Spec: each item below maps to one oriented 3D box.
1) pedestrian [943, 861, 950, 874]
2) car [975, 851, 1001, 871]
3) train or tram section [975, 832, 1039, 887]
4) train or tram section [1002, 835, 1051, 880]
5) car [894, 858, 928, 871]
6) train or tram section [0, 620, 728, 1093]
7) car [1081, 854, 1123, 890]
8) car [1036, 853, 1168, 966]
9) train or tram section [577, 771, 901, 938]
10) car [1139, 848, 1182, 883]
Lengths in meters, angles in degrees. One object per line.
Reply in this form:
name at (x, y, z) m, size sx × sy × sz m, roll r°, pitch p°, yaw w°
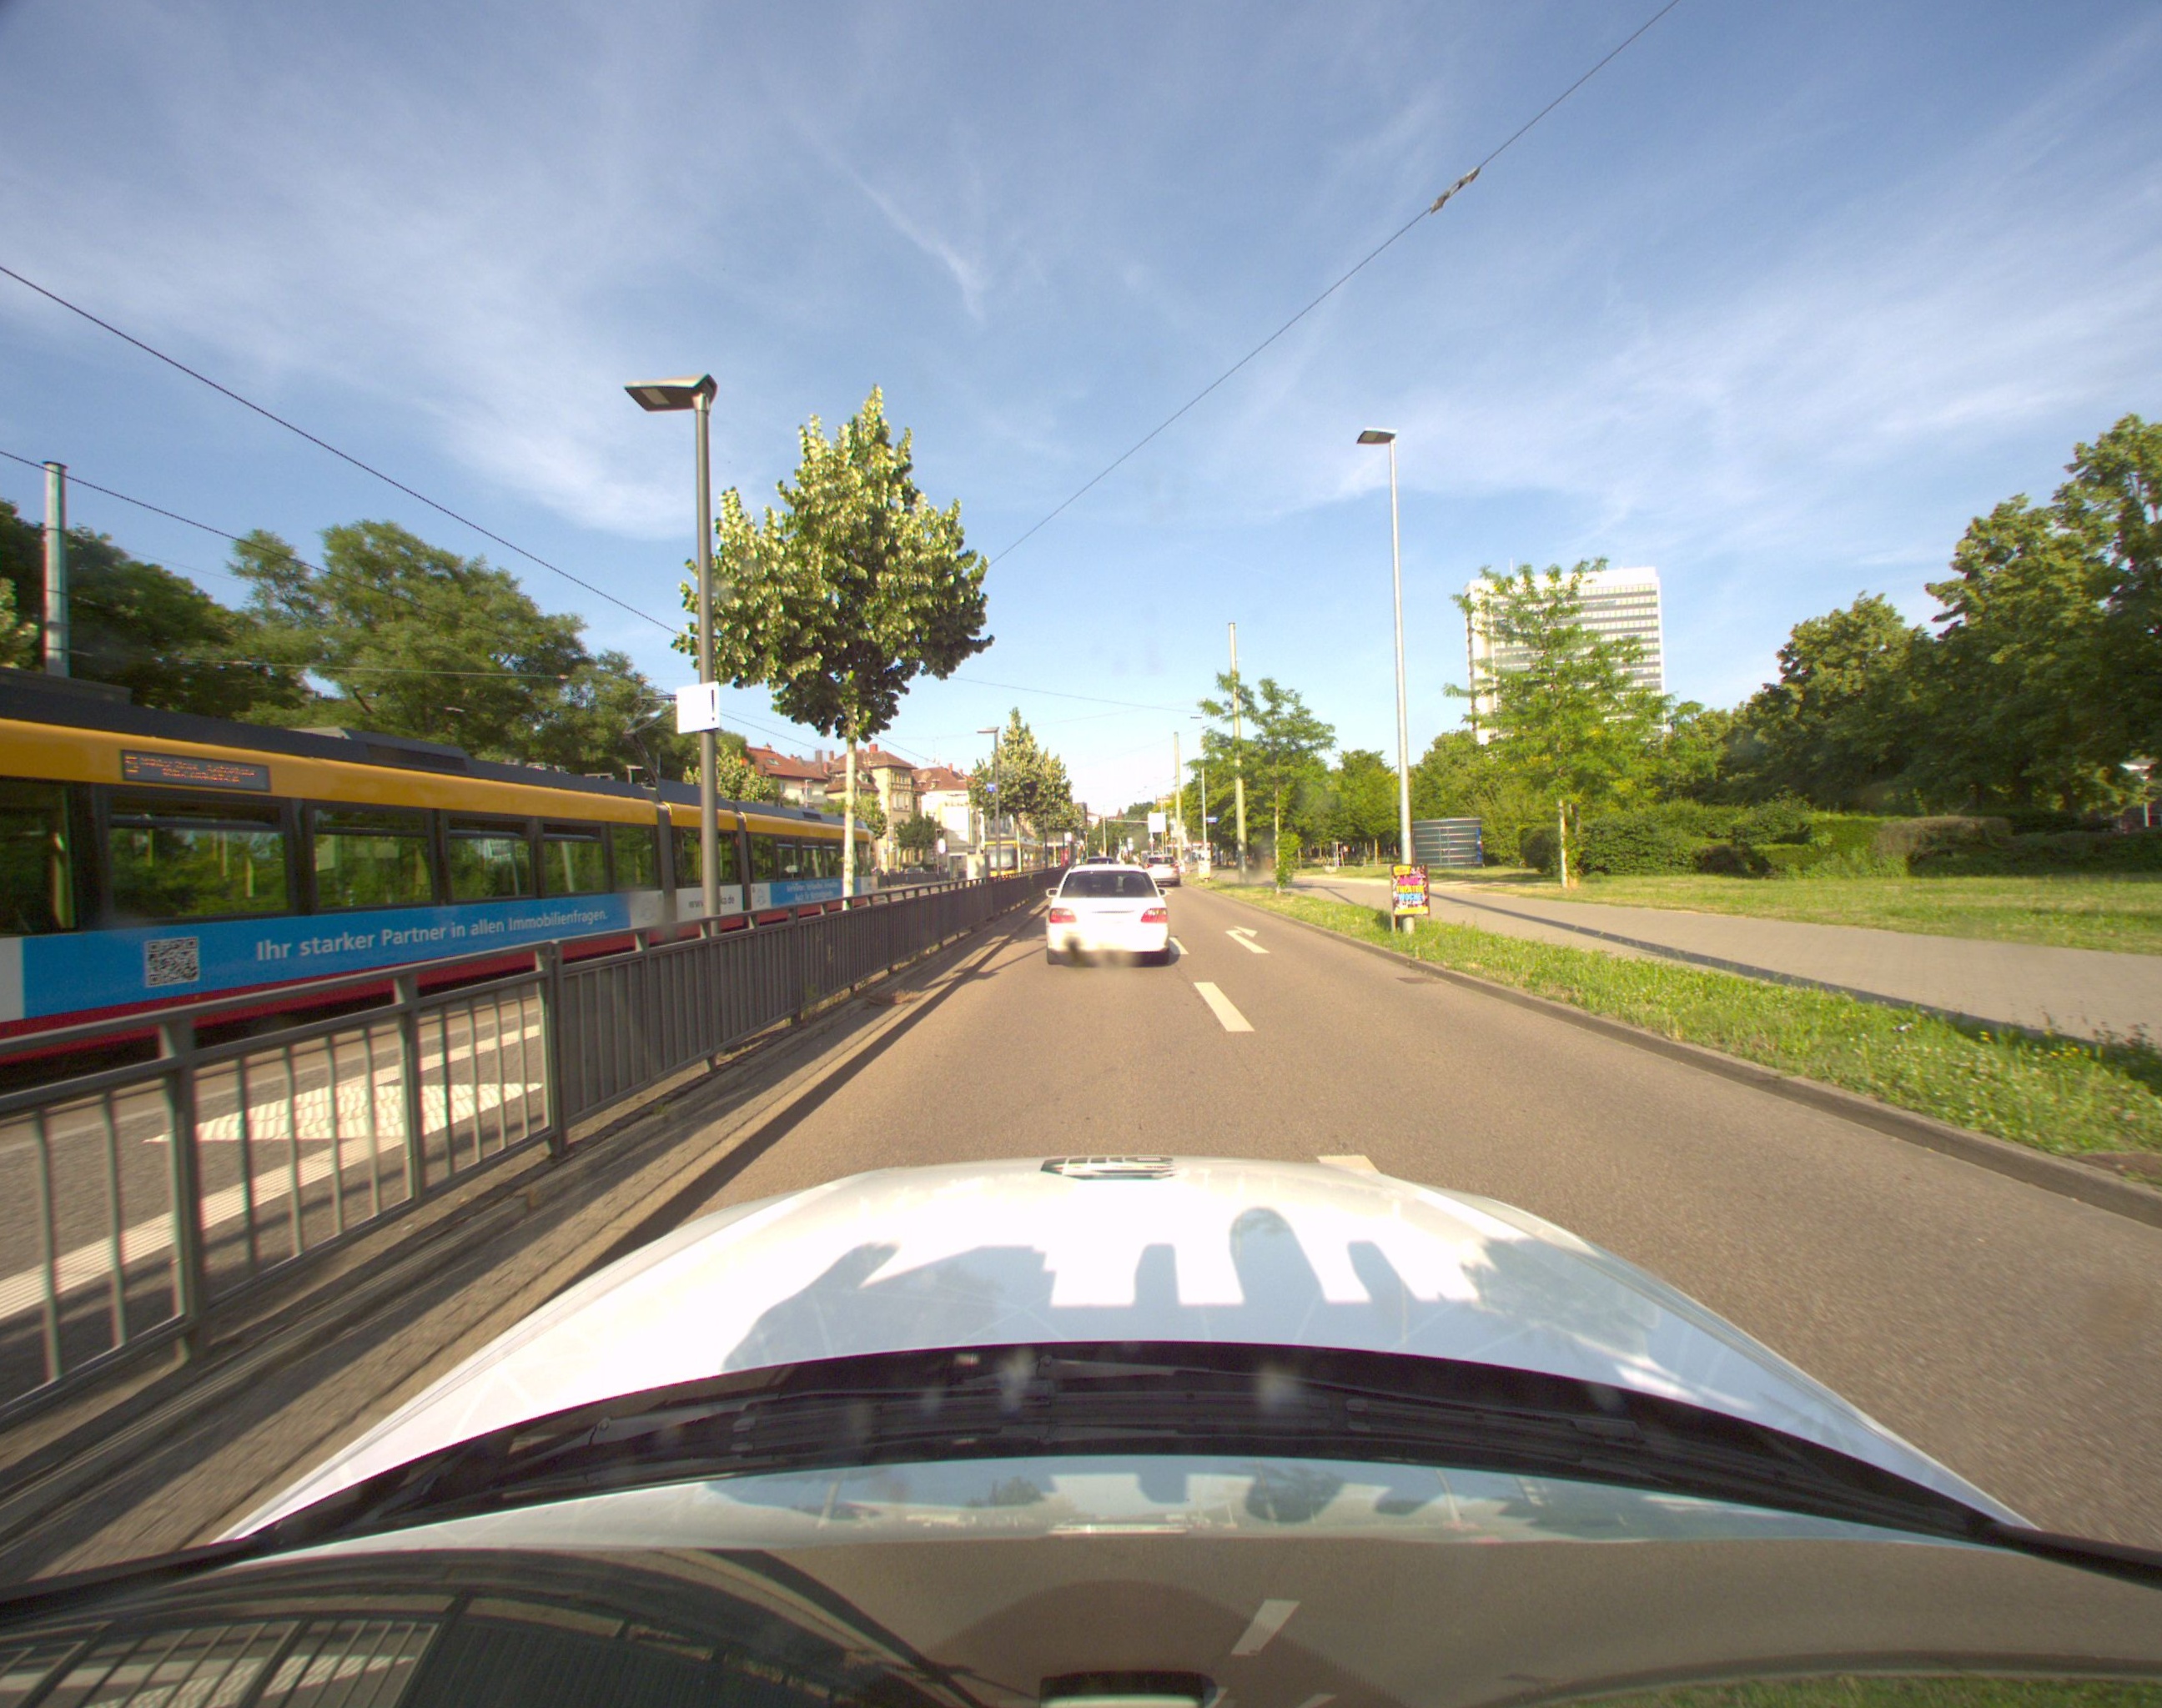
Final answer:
pedestrian at (-17.747, 1.771, 107.568) m, size 0.662 × 1.753 × 0.747 m, roll -1°, pitch 0°, yaw 5°
car at (-13.142, 0.968, 115.437) m, size 2.587 × 2.735 × 7.470 m, roll -1°, pitch 0°, yaw 1°
train or tram section at (-5.057, 0.304, 58.504) m, size 2.838 × 3.479 × 13.206 m, roll -1°, pitch 0°, yaw 2°
train or tram section at (-4.608, 0.268, 71.567) m, size 2.839 × 3.479 × 13.206 m, roll -1°, pitch 0°, yaw 2°
car at (-23.726, 1.473, 113.807) m, size 2.183 × 1.628 × 4.744 m, roll -1°, pitch 0°, yaw 25°
train or tram section at (-9.385, 0.035, 10.108) m, size 3.150 × 3.479 × 14.539 m, roll -1°, pitch 0°, yaw 2°
car at (1.108, 0.878, 41.386) m, size 1.778 × 1.690 × 4.007 m, roll -1°, pitch 0°, yaw 6°
car at (0.466, 0.812, 12.857) m, size 1.750 × 1.504 × 4.005 m, roll -1°, pitch -2°, yaw 5°
train or tram section at (-8.870, -0.008, 24.559) m, size 3.150 × 3.479 × 14.478 m, roll -1°, pitch 0°, yaw 2°
car at (4.048, 0.548, 41.299) m, size 2.023 × 1.605 × 4.007 m, roll -1°, pitch 0°, yaw 6°
